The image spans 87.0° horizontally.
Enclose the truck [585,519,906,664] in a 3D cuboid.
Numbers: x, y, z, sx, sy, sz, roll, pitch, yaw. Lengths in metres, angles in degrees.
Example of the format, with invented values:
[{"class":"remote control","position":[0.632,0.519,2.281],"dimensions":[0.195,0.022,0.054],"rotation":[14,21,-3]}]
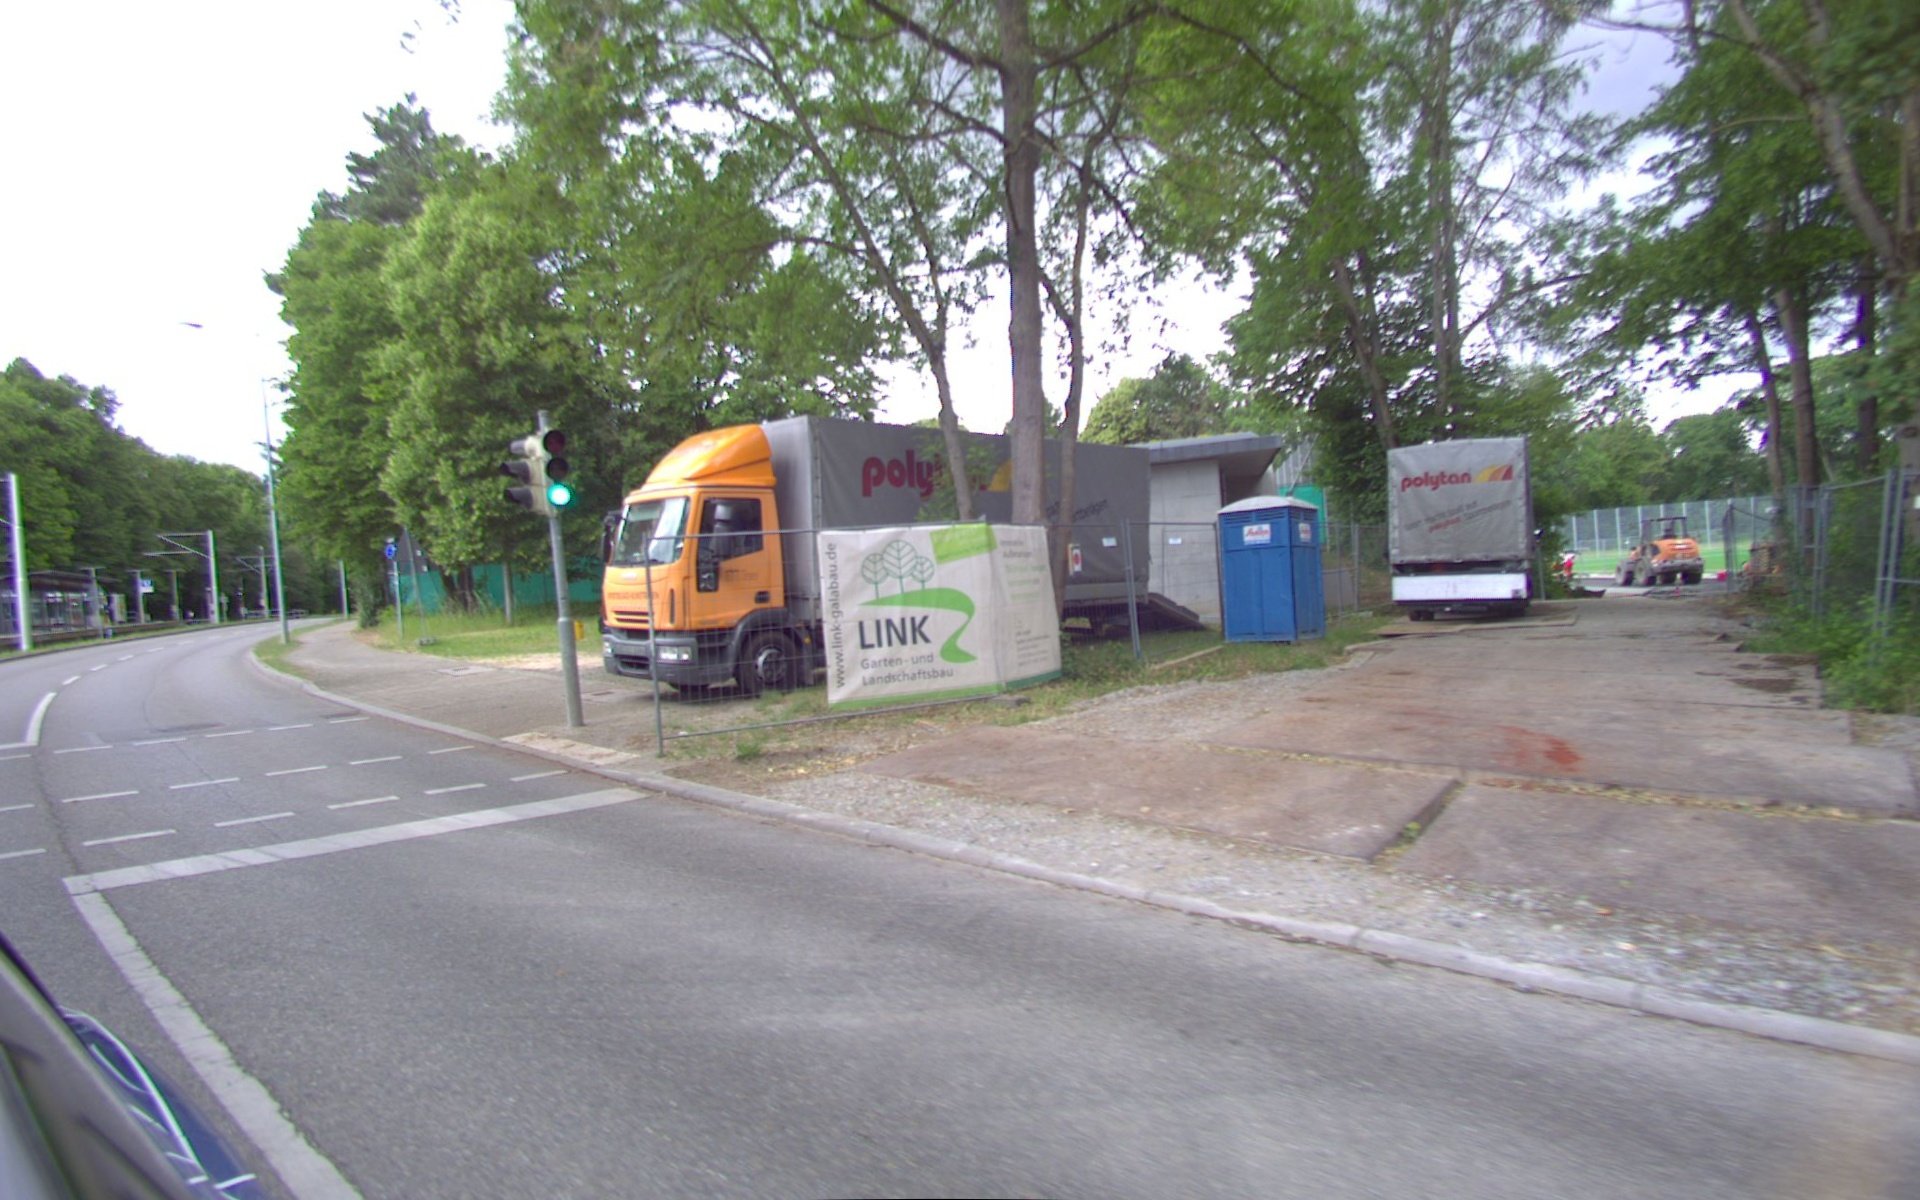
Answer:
[{"class":"truck","position":[-4.234,-0.328,21.129],"dimensions":[2.124,2.433,6.316],"rotation":[0,5,44]}]

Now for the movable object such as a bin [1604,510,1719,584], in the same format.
[{"class":"movable object such as a bin","position":[27.023,-1.990,39.149],"dimensions":[2.133,2.610,3.986],"rotation":[-2,1,11]}]

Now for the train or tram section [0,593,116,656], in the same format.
[{"class":"train or tram section","position":[-61.781,1.552,67.221],"dimensions":[2.774,3.764,18.593],"rotation":[-5,2,-21]}]

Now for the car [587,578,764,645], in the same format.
[{"class":"car","position":[-6.963,0.216,25.110],"dimensions":[1.715,1.336,3.949],"rotation":[2,5,39]}]

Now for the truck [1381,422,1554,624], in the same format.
[{"class":"truck","position":[10.000,-1.363,19.745],"dimensions":[2.444,3.223,5.857],"rotation":[-4,0,30]}]

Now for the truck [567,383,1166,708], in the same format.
[{"class":"truck","position":[-0.736,-0.877,15.123],"dimensions":[9.123,3.557,2.568],"rotation":[-5,3,-43]}]

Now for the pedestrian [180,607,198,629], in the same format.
[{"class":"pedestrian","position":[-63.595,1.479,83.494],"dimensions":[0.970,1.770,0.732],"rotation":[-5,1,-31]}]
